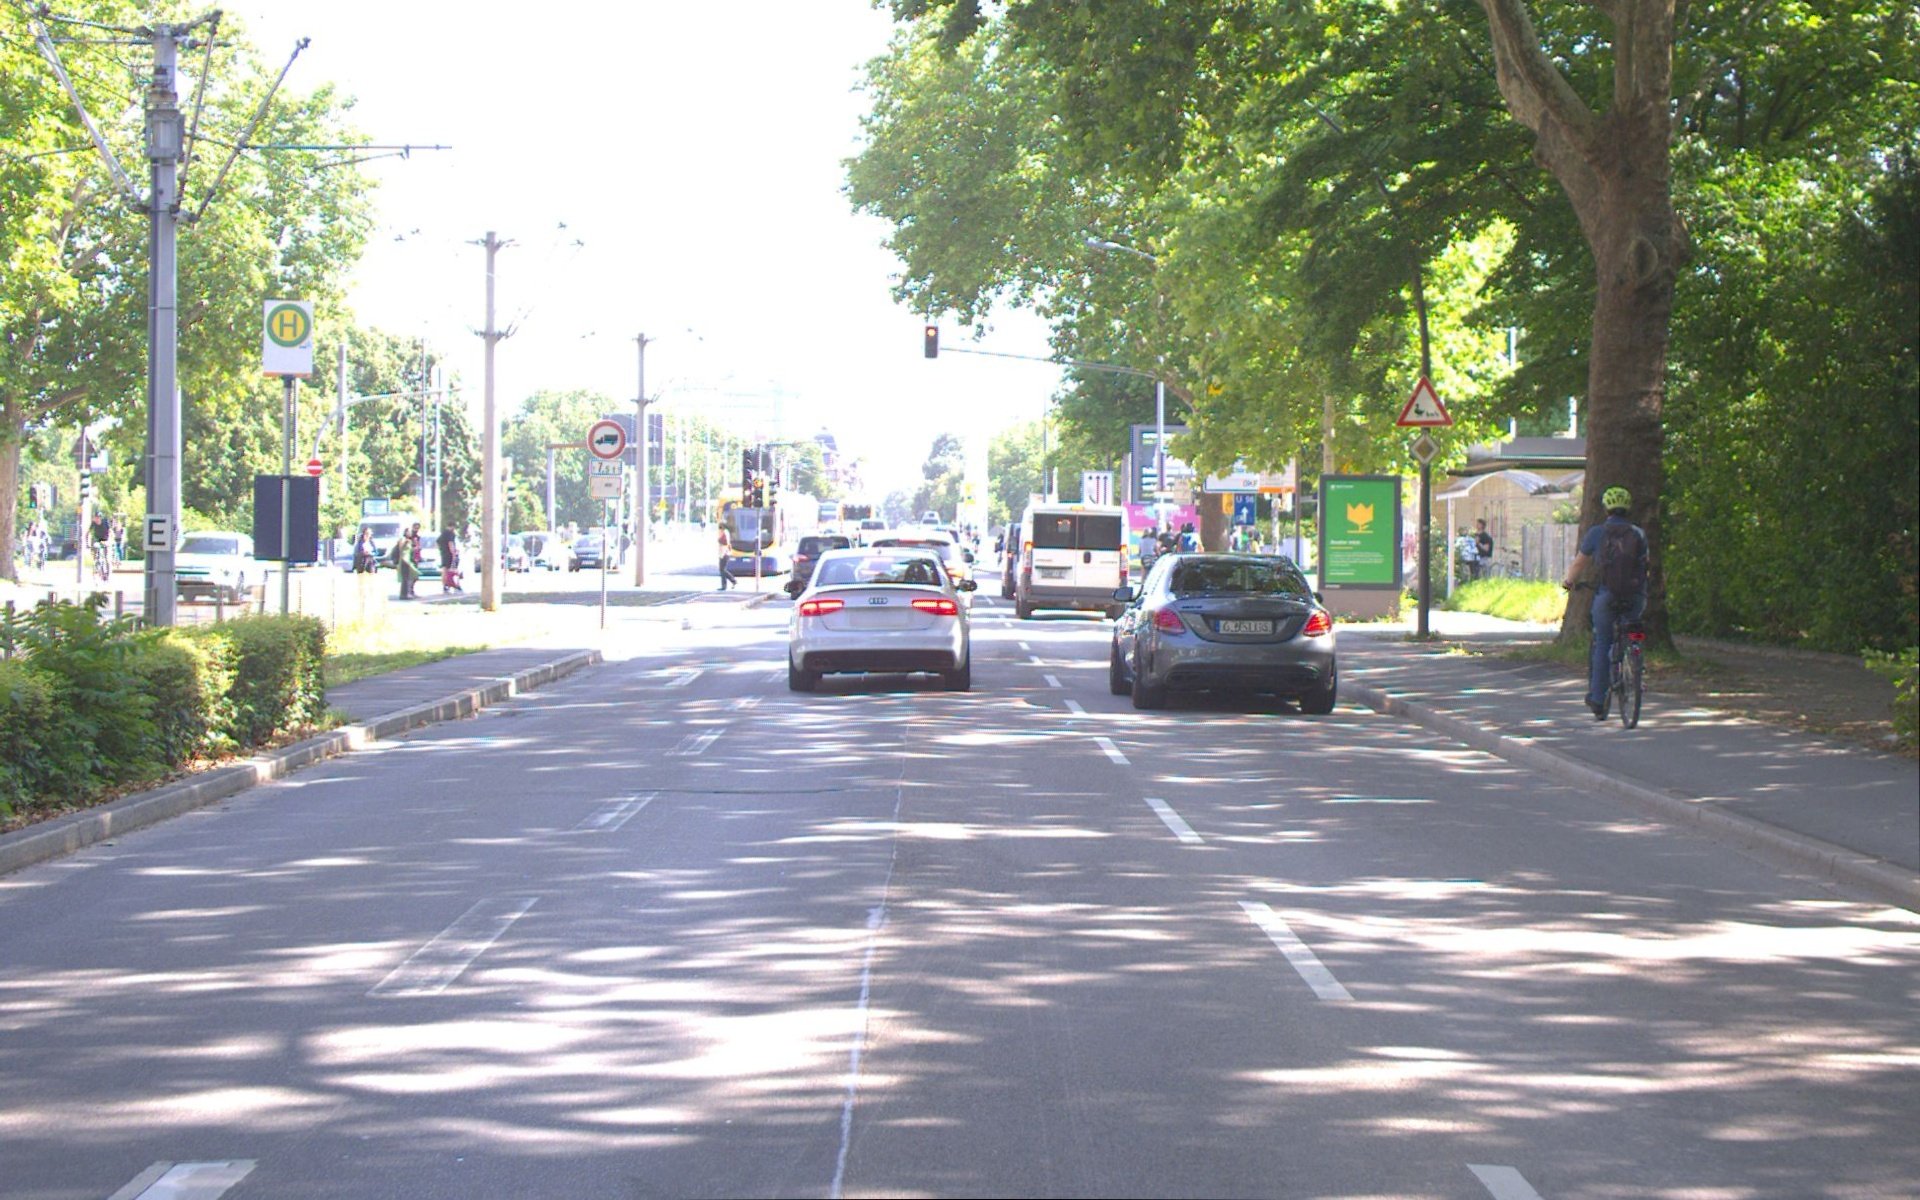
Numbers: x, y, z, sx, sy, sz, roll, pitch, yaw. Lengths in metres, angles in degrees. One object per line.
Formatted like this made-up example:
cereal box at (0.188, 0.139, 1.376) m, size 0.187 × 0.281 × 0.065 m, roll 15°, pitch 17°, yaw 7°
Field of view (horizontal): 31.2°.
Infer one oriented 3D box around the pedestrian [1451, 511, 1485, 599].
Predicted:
pedestrian at (10.972, -0.980, 74.241) m, size 0.613 × 1.890 × 0.597 m, roll 0°, pitch 1°, yaw -3°

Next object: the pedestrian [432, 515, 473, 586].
pedestrian at (-12.510, -1.226, 84.732) m, size 0.775 × 1.728 × 0.754 m, roll 1°, pitch 1°, yaw 9°

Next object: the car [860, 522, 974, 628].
car at (-0.658, -0.422, 54.888) m, size 1.729 × 1.599 × 3.885 m, roll 1°, pitch 1°, yaw 0°

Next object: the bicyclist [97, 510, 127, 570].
bicyclist at (-22.854, -1.611, 92.621) m, size 0.574 × 1.598 × 0.838 m, roll 1°, pitch 1°, yaw 0°

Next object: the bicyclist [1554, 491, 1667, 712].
bicyclist at (5.011, -0.005, 26.530) m, size 0.634 × 1.642 × 0.979 m, roll -2°, pitch 3°, yaw -1°

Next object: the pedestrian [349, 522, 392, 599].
pedestrian at (-12.520, -0.838, 73.031) m, size 0.757 × 1.617 × 0.595 m, roll 1°, pitch 1°, yaw -25°

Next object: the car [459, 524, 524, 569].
car at (-17.533, -2.010, 128.792) m, size 1.871 × 1.603 × 4.000 m, roll 1°, pitch 1°, yaw 0°

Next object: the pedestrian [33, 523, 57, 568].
pedestrian at (-31.685, -1.876, 119.055) m, size 0.622 × 1.536 × 0.782 m, roll 1°, pitch 1°, yaw -1°

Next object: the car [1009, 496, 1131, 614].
car at (2.115, -0.893, 67.295) m, size 2.230 × 2.204 × 4.162 m, roll 1°, pitch 1°, yaw 0°

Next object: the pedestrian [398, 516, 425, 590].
pedestrian at (-12.561, -1.074, 78.757) m, size 0.492 × 1.673 × 0.643 m, roll 1°, pitch 1°, yaw 0°

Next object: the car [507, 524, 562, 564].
car at (-17.499, -2.297, 141.533) m, size 1.763 × 1.603 × 3.860 m, roll 1°, pitch 1°, yaw 0°

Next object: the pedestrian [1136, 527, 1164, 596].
pedestrian at (4.682, -0.949, 84.860) m, size 0.602 × 1.689 × 0.953 m, roll -1°, pitch 1°, yaw 0°

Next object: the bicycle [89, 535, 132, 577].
bicycle at (-22.873, -1.191, 92.636) m, size 0.667 × 1.091 × 1.884 m, roll 1°, pitch 1°, yaw 0°

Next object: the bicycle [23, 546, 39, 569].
bicycle at (-31.327, -1.434, 115.910) m, size 0.420 × 0.746 × 1.146 m, roll 1°, pitch 1°, yaw -11°

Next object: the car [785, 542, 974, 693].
car at (-0.776, 0.138, 34.980) m, size 1.784 × 1.416 × 3.885 m, roll 1°, pitch 1°, yaw 0°

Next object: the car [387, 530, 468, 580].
car at (-16.583, -1.410, 107.205) m, size 1.796 × 1.483 × 4.385 m, roll 1°, pitch 1°, yaw 0°

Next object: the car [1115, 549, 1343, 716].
car at (2.442, 0.254, 32.044) m, size 1.782 × 1.415 × 4.000 m, roll 1°, pitch 1°, yaw 0°

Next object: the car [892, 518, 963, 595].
car at (-0.816, -1.131, 87.790) m, size 1.729 × 1.895 × 4.000 m, roll 1°, pitch 1°, yaw 0°

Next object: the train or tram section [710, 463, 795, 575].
train or tram section at (-7.703, -2.999, 128.380) m, size 2.617 × 4.001 × 7.749 m, roll 1°, pitch 1°, yaw 0°

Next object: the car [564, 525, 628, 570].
car at (-14.217, -2.058, 134.435) m, size 1.993 × 1.728 × 4.000 m, roll 1°, pitch 1°, yaw 0°

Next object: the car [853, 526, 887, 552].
car at (-5.600, -3.796, 214.222) m, size 1.871 × 1.603 × 4.000 m, roll 1°, pitch 1°, yaw 2°

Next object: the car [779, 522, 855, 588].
car at (-3.627, -1.158, 87.622) m, size 1.729 × 1.625 × 4.000 m, roll 1°, pitch 1°, yaw 0°

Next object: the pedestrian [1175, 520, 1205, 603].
pedestrian at (5.397, -0.904, 80.792) m, size 0.635 × 1.939 × 0.719 m, roll 1°, pitch 1°, yaw 0°

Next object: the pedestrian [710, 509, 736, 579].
pedestrian at (-6.535, -1.539, 94.705) m, size 0.624 × 1.911 × 0.690 m, roll 1°, pitch 1°, yaw 0°

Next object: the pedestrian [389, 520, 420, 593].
pedestrian at (-12.614, -0.999, 78.069) m, size 0.593 × 1.641 × 0.554 m, roll 1°, pitch 1°, yaw 0°

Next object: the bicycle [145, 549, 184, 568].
bicycle at (-30.112, -1.574, 130.147) m, size 0.492 × 0.728 × 1.619 m, roll 2°, pitch 1°, yaw 29°

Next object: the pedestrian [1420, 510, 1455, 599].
pedestrian at (10.312, -0.984, 74.197) m, size 0.613 × 1.890 × 0.694 m, roll 0°, pitch 1°, yaw -3°

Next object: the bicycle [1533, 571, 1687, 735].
bicycle at (5.011, 0.382, 26.641) m, size 0.714 × 1.144 × 2.178 m, roll -2°, pitch 2°, yaw -1°

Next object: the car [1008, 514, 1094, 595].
car at (2.307, -1.187, 88.573) m, size 2.072 × 1.992 × 4.058 m, roll 1°, pitch 1°, yaw 0°

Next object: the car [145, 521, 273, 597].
car at (-16.063, -0.898, 73.708) m, size 1.810 × 1.557 × 4.305 m, roll 1°, pitch 1°, yaw 0°

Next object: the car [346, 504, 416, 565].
car at (-23.335, -2.644, 138.638) m, size 2.114 × 2.374 × 4.000 m, roll 1°, pitch 1°, yaw 0°
